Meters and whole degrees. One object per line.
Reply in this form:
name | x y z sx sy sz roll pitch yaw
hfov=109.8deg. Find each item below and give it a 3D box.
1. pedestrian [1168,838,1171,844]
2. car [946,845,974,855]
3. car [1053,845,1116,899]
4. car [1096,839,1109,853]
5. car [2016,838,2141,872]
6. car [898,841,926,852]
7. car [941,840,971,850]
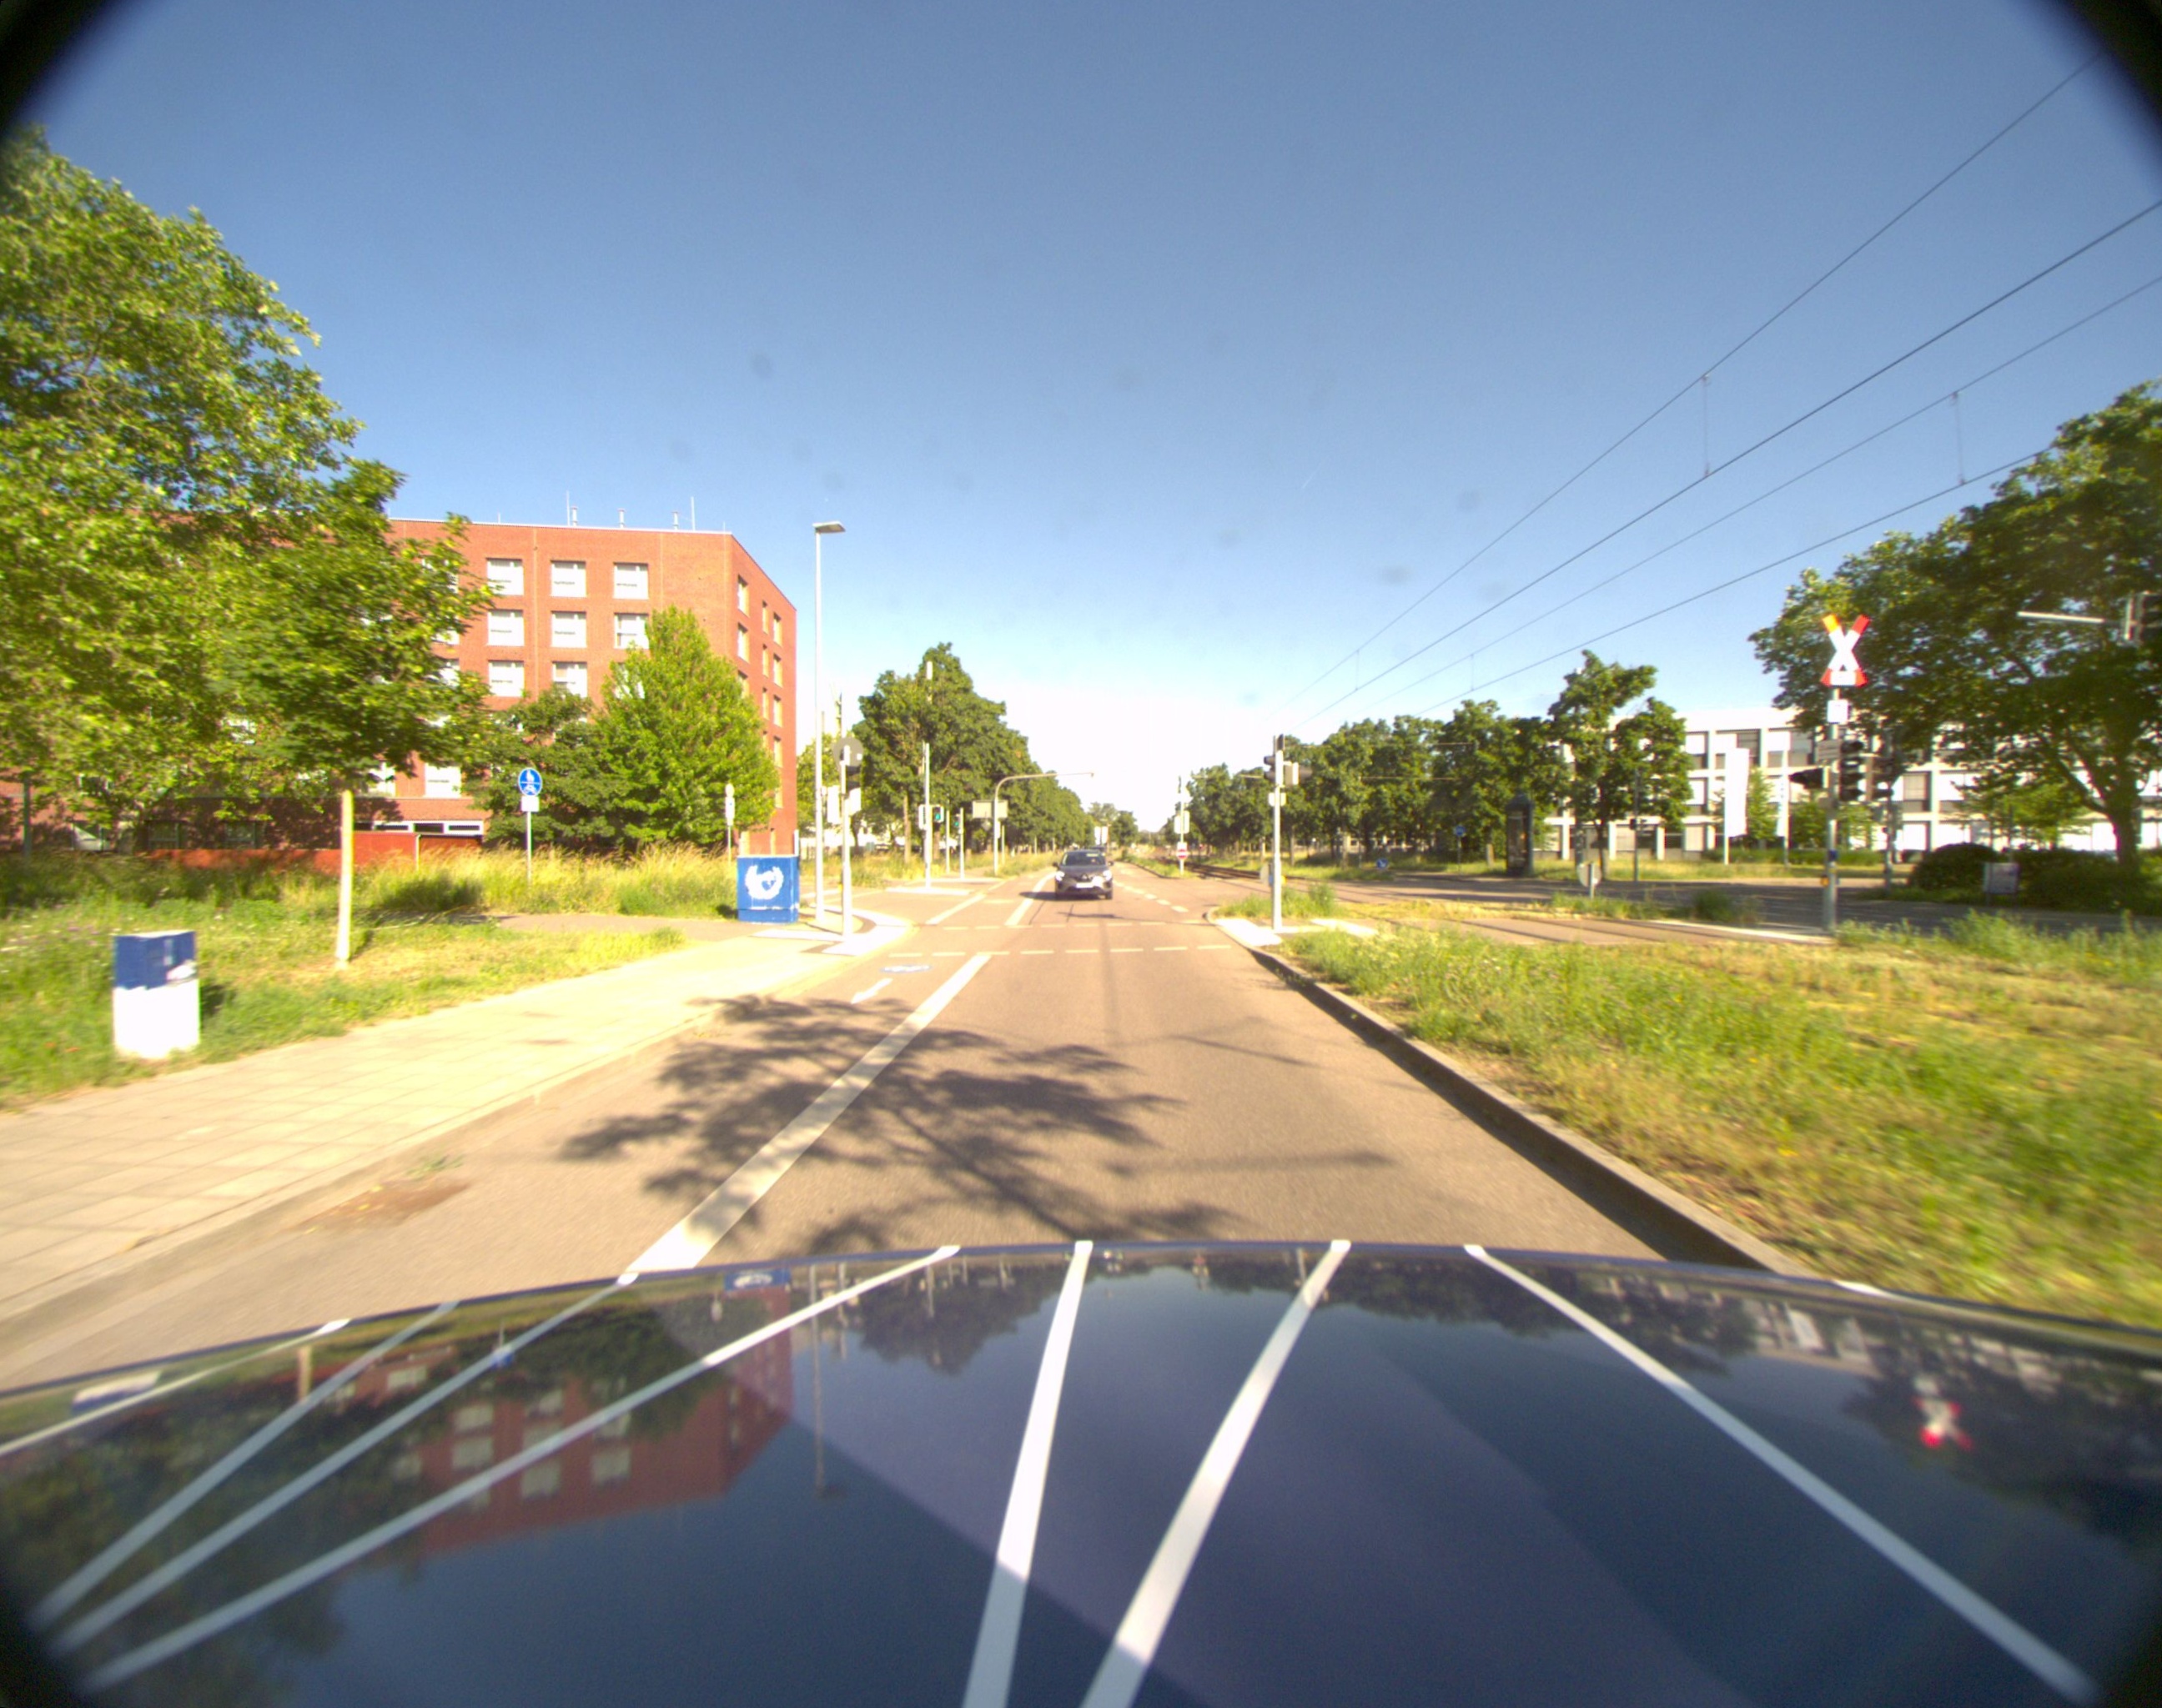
pedestrian | 24.357 -3.536 209.061 0.785 1.742 0.782 -1 1 5
car | -19.408 -0.638 122.099 4.173 1.423 1.825 -1 1 7
car | 0.203 0.547 25.618 1.749 1.585 4.248 -3 1 4
car | 2.910 -1.047 100.438 1.554 1.765 3.457 1 1 4
car | 50.298 0.016 38.341 4.432 1.630 1.988 0 1 -10
car | -31.505 -1.370 141.804 4.759 1.939 1.975 0 1 4
car | -18.621 -1.302 113.212 4.038 1.497 1.738 0 1 5
